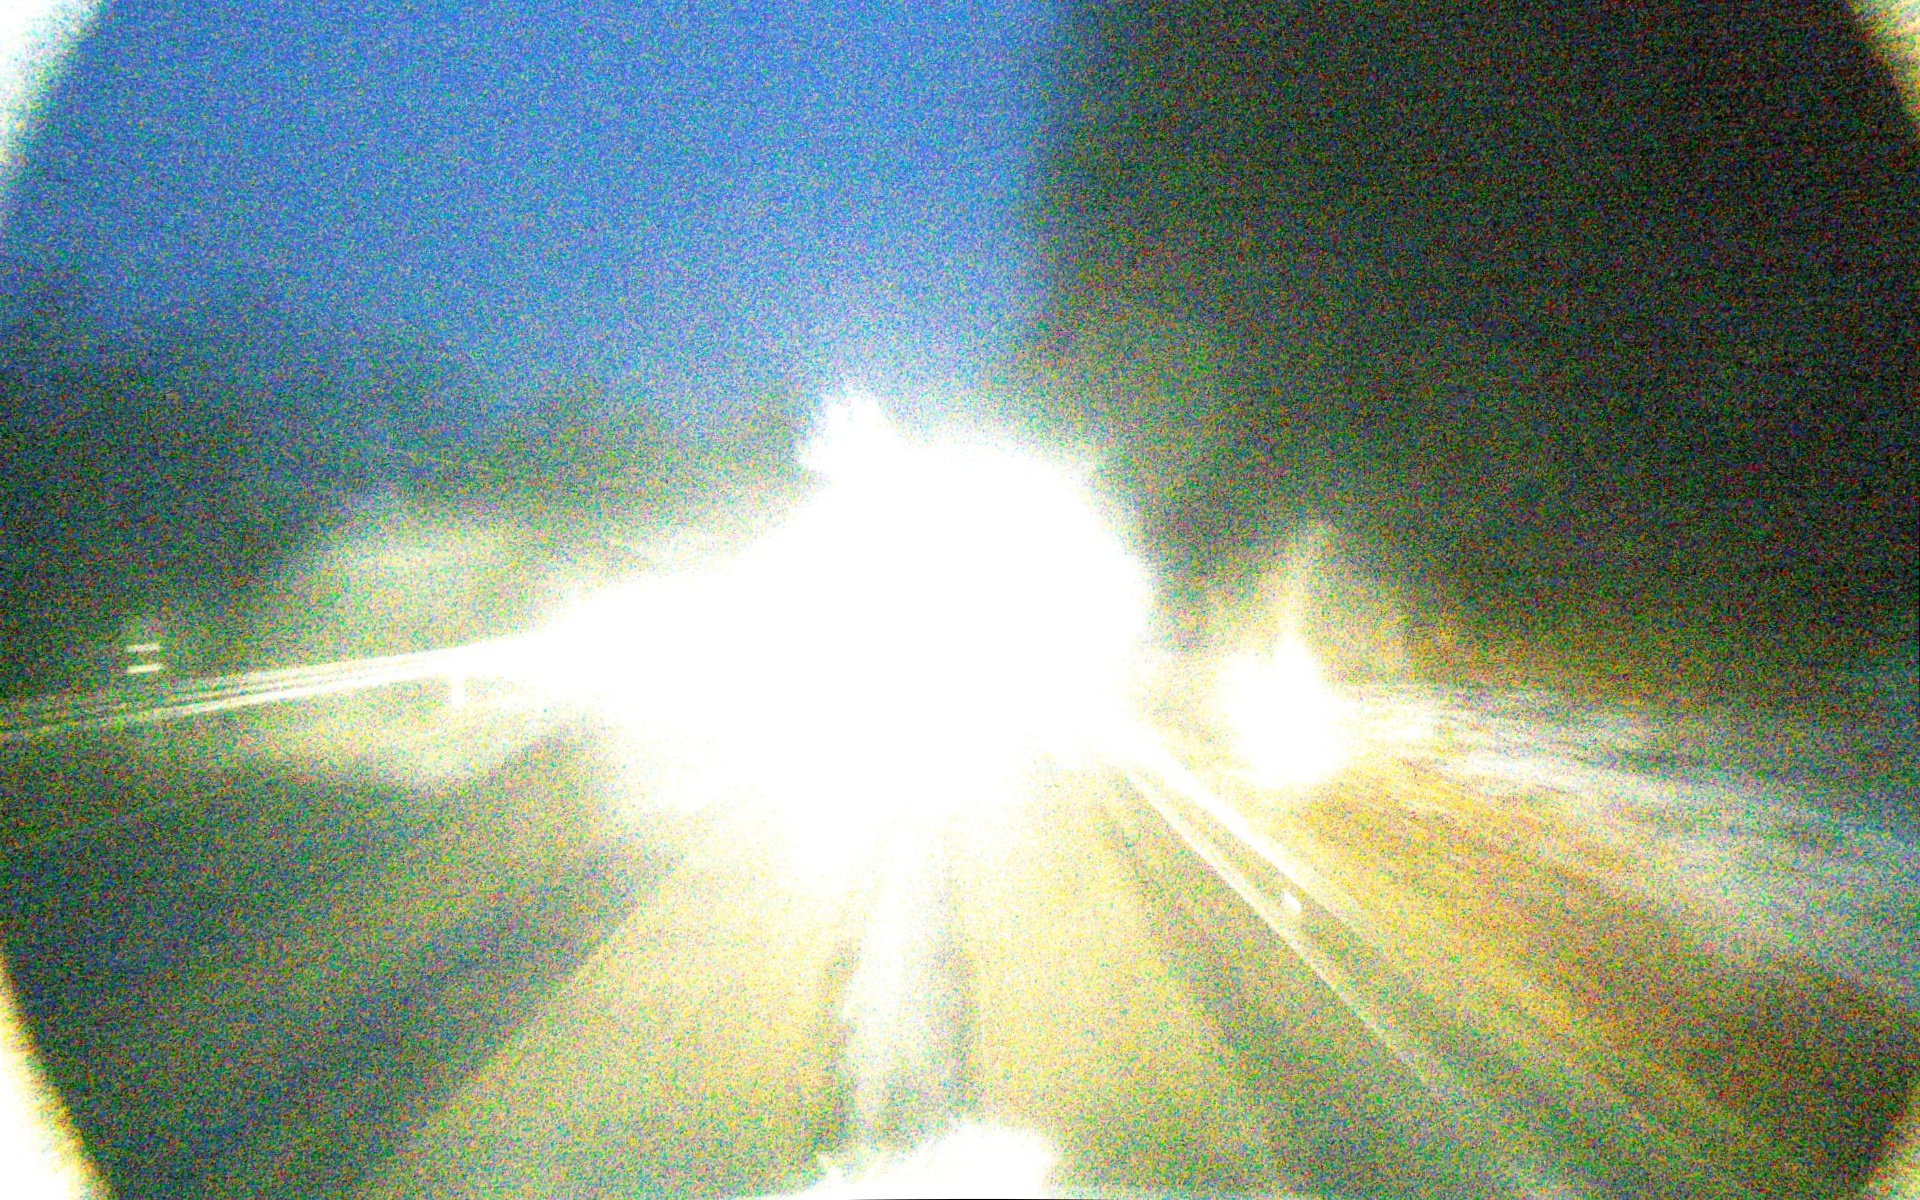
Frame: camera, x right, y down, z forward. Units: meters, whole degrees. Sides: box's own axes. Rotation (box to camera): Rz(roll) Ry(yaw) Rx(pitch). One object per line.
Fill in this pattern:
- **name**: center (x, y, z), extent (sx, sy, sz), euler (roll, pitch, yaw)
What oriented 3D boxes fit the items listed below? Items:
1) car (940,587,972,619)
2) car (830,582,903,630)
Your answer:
- **car**: center (-0.247, 0.174, 106.489), extent (1.816, 1.974, 4.001), euler (-1, 0, 2)
- **car**: center (-2.834, 0.174, 50.947), extent (1.952, 1.415, 3.846), euler (0, 1, 1)
